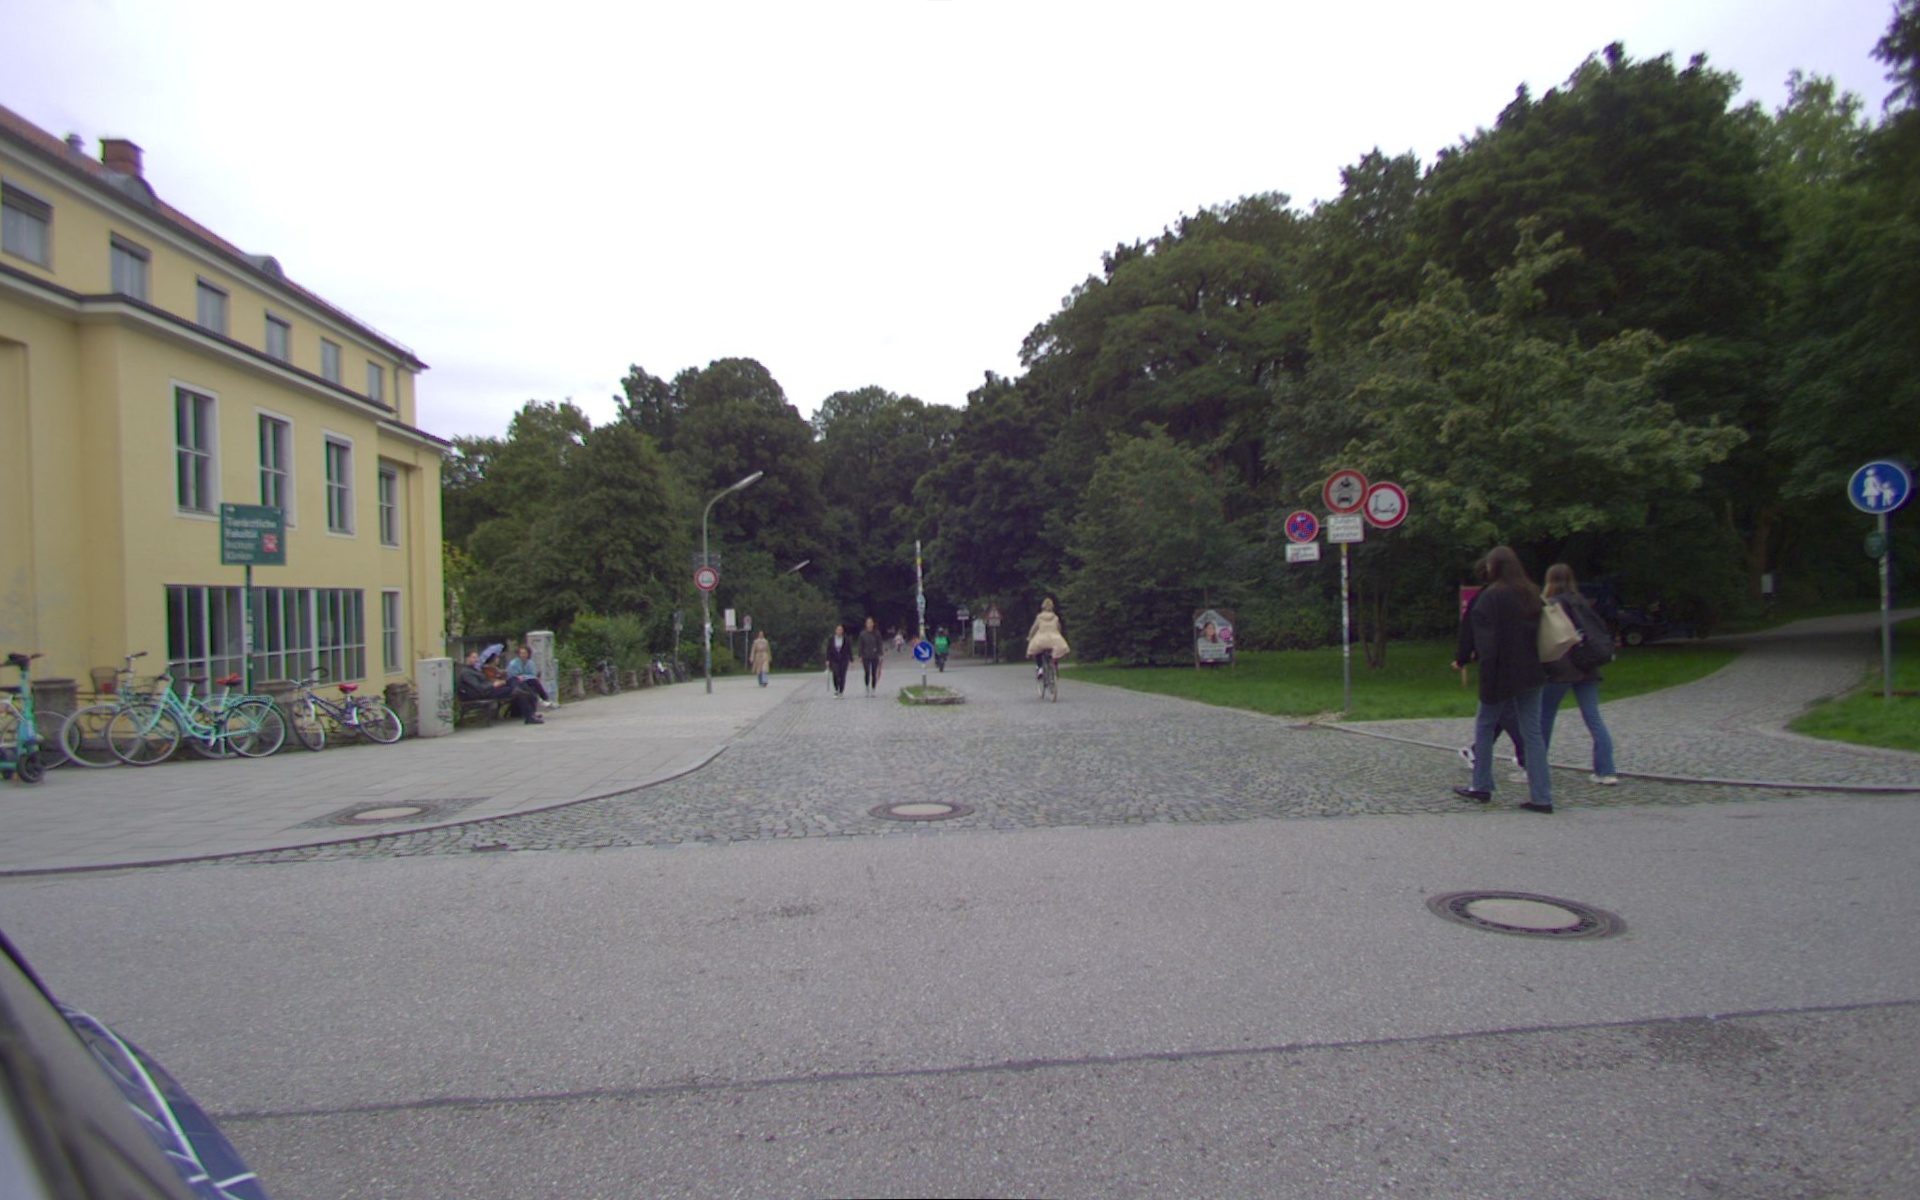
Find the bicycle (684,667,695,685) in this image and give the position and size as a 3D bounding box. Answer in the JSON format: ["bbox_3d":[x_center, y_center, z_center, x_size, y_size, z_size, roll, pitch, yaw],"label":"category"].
[{"bbox_3d":[-10.167,2.868,38.070,0.238,0.662,0.910,0,-3,-5],"label":"bicycle"}]

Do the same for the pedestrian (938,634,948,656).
[{"bbox_3d":[-1.423,3.699,83.026,0.676,1.685,0.774,-3,-4,-5],"label":"pedestrian"}]

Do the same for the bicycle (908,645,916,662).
[{"bbox_3d":[-3.339,3.752,70.670,0.457,1.068,1.764,-1,1,-5],"label":"bicycle"}]

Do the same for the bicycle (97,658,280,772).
[{"bbox_3d":[-8.703,1.265,11.495,0.169,1.207,1.634,-2,-4,36],"label":"bicycle"}]

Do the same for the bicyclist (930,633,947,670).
[{"bbox_3d":[-0.805,1.950,38.368,0.555,1.385,0.762,-1,-3,-5],"label":"bicyclist"}]

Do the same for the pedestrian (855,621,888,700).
[{"bbox_3d":[-1.948,1.337,22.283,0.630,1.685,0.774,-3,-4,-5],"label":"pedestrian"}]

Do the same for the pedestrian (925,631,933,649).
[{"bbox_3d":[-3.027,3.931,98.812,0.731,1.685,0.922,-3,-4,-5],"label":"pedestrian"}]

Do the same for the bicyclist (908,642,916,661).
[{"bbox_3d":[-3.358,3.584,70.665,0.555,1.275,0.763,-1,1,-5],"label":"bicyclist"}]

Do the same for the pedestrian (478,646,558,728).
[{"bbox_3d":[-7.551,1.481,17.327,1.158,1.303,0.641,-2,-4,-16],"label":"pedestrian"}]

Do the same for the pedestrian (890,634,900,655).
[{"bbox_3d":[-5.561,3.819,86.618,0.676,1.685,0.774,-3,-4,-5],"label":"pedestrian"}]

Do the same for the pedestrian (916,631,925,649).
[{"bbox_3d":[-3.847,3.949,98.815,0.731,1.685,0.922,-3,-4,-5],"label":"pedestrian"}]

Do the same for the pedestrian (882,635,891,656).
[{"bbox_3d":[-6.107,3.767,84.309,0.676,1.685,0.774,-3,-4,-5],"label":"pedestrian"}]

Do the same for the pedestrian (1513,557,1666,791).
[{"bbox_3d":[5.079,0.581,8.213,0.625,1.795,0.802,0,-3,-5],"label":"pedestrian"}]

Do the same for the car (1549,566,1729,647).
[{"bbox_3d":[19.329,0.200,29.041,3.947,2.120,1.888,-3,0,26],"label":"car"}]

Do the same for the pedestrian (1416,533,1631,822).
[{"bbox_3d":[3.867,0.516,7.055,0.740,1.847,1.116,0,-3,-5],"label":"pedestrian"}]

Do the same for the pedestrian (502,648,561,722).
[{"bbox_3d":[-7.598,1.508,17.978,0.872,1.244,0.552,-2,-4,-16],"label":"pedestrian"}]

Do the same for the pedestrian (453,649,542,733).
[{"bbox_3d":[-7.476,1.461,16.385,1.196,1.257,0.641,-2,-4,-16],"label":"pedestrian"}]

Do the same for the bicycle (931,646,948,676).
[{"bbox_3d":[-0.782,2.301,38.319,0.457,1.068,1.763,-1,-3,-5],"label":"bicycle"}]

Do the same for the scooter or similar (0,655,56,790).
[{"bbox_3d":[-9.023,1.139,9.624,1.114,1.222,0.320,-3,-3,32],"label":"scooter or similar"}]

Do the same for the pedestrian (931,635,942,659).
[{"bbox_3d":[-1.694,3.386,73.176,0.676,1.685,0.774,-3,-4,-5],"label":"pedestrian"}]

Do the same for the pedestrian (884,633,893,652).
[{"bbox_3d":[-6.419,3.809,90.934,0.676,1.685,0.774,-3,-4,-5],"label":"pedestrian"}]

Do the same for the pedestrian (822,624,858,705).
[{"bbox_3d":[-2.619,1.414,22.166,0.676,1.685,0.774,-3,-4,-5],"label":"pedestrian"}]

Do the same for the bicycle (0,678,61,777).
[{"bbox_3d":[-10.266,1.307,10.293,1.626,1.001,0.249,2,-4,-29],"label":"bicycle"}]

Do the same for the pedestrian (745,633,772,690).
[{"bbox_3d":[-6.169,1.893,31.030,0.644,1.699,0.976,-3,-4,-5],"label":"pedestrian"}]

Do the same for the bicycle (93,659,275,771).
[{"bbox_3d":[-8.854,1.279,11.623,0.202,1.200,1.634,-2,-4,36],"label":"bicycle"}]

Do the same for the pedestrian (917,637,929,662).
[{"bbox_3d":[-2.594,3.459,70.967,0.676,1.685,0.774,-3,-4,-5],"label":"pedestrian"}]

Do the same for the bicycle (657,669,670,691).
[{"bbox_3d":[-9.834,2.649,33.543,0.212,0.681,0.909,0,-3,-3],"label":"bicycle"}]

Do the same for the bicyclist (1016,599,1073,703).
[{"bbox_3d":[1.544,0.916,18.521,0.844,1.816,0.767,-2,-1,-5],"label":"bicyclist"}]

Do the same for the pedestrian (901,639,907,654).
[{"bbox_3d":[-4.745,3.977,86.143,0.464,1.275,0.449,-1,1,-5],"label":"pedestrian"}]

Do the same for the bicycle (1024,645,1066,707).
[{"bbox_3d":[1.546,1.370,18.670,0.476,1.049,1.947,-1,-2,-3],"label":"bicycle"}]

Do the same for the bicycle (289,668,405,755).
[{"bbox_3d":[-8.061,1.441,13.389,0.304,1.046,1.649,-1,-3,9],"label":"bicycle"}]

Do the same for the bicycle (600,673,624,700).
[{"bbox_3d":[-9.138,2.268,26.582,0.213,0.681,0.907,0,-3,6],"label":"bicycle"}]

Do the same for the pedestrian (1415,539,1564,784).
[{"bbox_3d":[4.350,0.496,8.378,0.697,1.918,0.804,0,-3,-5],"label":"pedestrian"}]
